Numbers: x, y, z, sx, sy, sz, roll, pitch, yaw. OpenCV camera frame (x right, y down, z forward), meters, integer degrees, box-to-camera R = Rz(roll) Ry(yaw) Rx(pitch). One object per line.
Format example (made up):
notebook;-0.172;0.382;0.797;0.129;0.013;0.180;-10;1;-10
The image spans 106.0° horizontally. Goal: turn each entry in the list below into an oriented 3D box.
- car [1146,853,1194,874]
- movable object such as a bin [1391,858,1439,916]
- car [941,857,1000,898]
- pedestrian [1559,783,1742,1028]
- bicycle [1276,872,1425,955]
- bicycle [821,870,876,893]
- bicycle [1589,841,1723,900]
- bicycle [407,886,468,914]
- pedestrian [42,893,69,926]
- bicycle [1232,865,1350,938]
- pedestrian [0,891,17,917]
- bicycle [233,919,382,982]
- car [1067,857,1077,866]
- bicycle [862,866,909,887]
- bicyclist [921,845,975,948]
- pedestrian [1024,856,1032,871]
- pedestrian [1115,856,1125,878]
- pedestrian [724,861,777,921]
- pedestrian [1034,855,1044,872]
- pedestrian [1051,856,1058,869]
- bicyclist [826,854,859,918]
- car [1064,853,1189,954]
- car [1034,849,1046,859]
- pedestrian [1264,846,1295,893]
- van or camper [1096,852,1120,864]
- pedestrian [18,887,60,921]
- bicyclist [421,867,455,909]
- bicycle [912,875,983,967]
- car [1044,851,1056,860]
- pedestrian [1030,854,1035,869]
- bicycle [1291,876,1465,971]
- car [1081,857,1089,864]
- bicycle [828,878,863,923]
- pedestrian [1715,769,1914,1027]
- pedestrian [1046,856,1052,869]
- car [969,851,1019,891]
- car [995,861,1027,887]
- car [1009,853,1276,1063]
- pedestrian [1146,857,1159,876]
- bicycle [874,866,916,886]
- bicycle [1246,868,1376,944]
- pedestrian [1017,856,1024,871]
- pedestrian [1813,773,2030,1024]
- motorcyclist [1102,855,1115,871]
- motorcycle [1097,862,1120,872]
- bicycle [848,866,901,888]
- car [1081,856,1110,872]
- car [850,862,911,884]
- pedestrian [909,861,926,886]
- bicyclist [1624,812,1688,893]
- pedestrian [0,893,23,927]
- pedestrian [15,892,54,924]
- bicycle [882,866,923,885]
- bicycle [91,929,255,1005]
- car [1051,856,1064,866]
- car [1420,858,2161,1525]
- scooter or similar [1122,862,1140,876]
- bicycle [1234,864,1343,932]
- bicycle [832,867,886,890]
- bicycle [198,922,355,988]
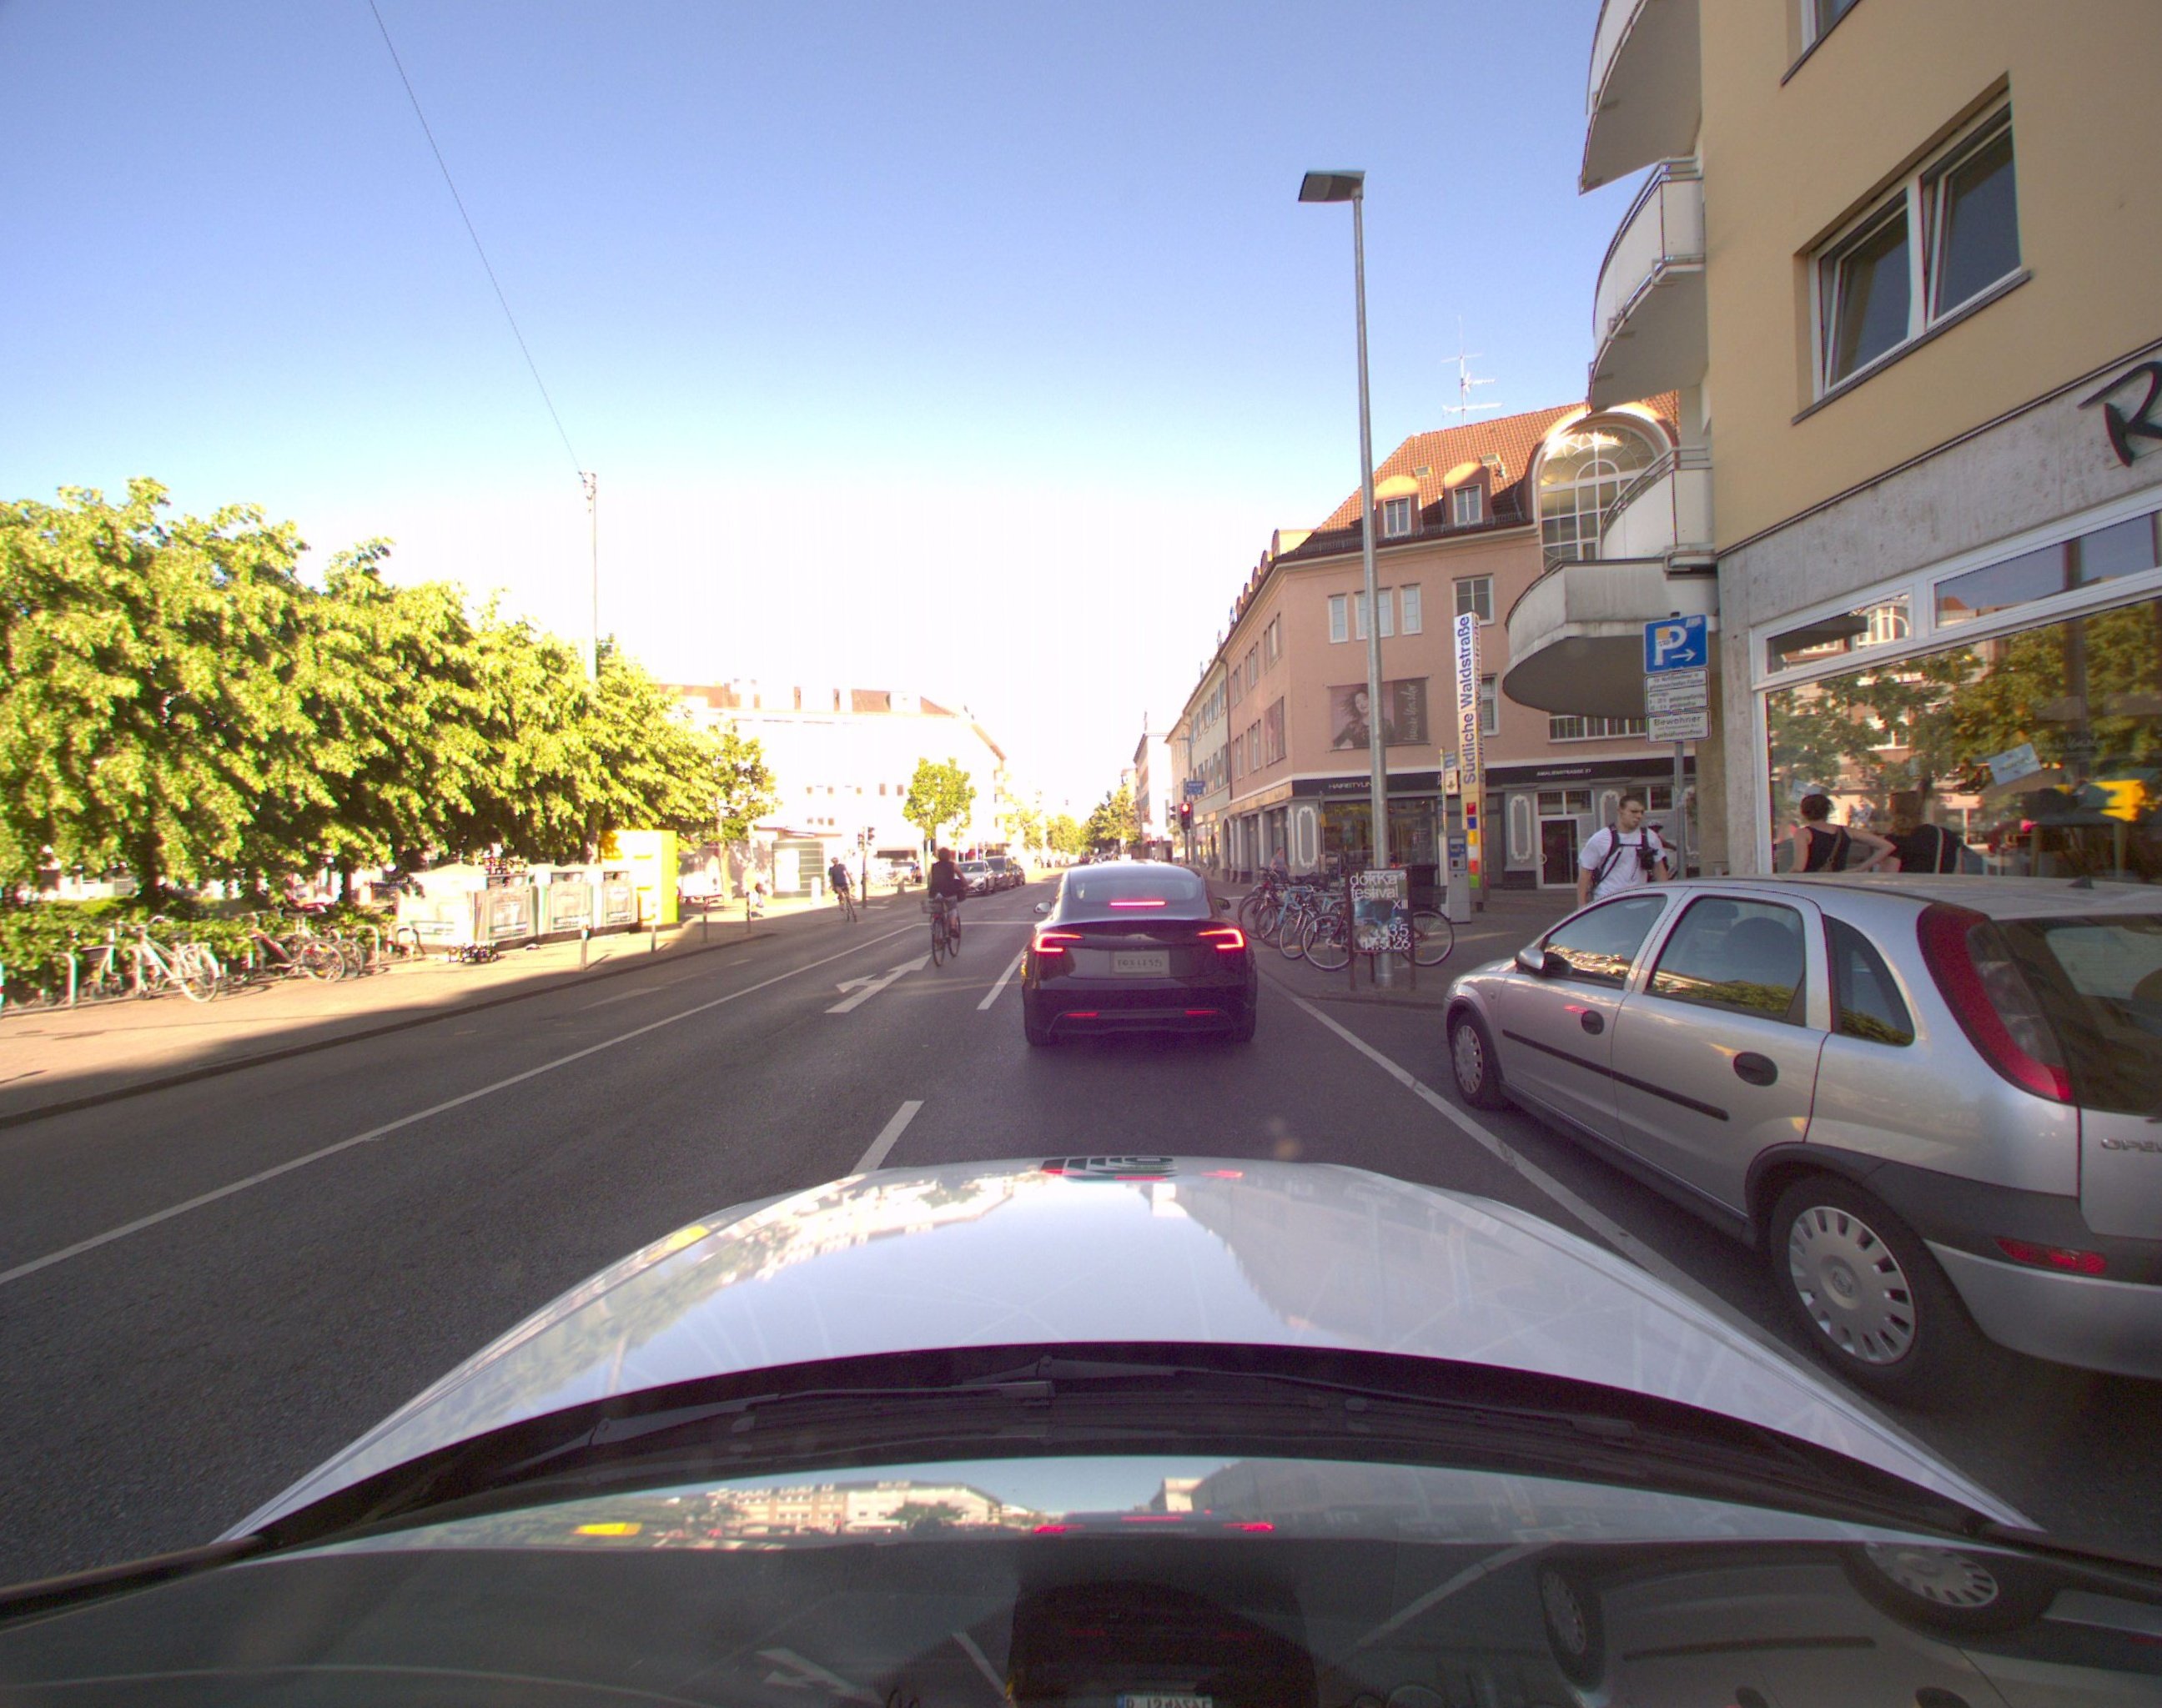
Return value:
car;8.144;0.874;74.644;4.006;1.867;1.686;-1;0;-20
movable object such as a bin;6.723;0.661;16.419;0.633;1.103;0.728;-4;-1;5
car;-4.885;1.017;36.592;1.818;1.565;4.302;-5;-1;2
pedestrian;4.536;0.389;6.572;0.805;1.823;0.984;0;-1;5
bicycle;3.655;0.798;11.150;1.806;1.060;0.653;-1;0;3
bicycle;-12.327;1.440;43.239;2.652;1.195;0.942;0;-1;-1
bicycle;13.183;0.380;18.737;2.376;1.151;0.714;-5;-1;8
bicycle;-21.856;1.571;27.677;1.840;0.823;0.583;-4;-1;14
pedestrian;-48.993;2.625;38.912;0.827;1.520;0.782;-1;-1;38
bicycle;3.496;0.776;13.637;1.806;1.152;0.653;-1;0;3
pedestrian;-52.279;2.418;39.220;0.864;1.214;0.897;0;-1;-11
bicycle;-11.462;1.426;12.096;1.663;0.859;0.469;0;-1;-5
car;-2.003;1.779;187.423;2.124;1.970;4.135;-1;0;2
bicycle;-12.056;1.388;50.295;2.655;1.259;0.942;0;-1;-1
bicyclist;-1.990;0.613;12.246;0.603;1.484;0.959;0;-1;3
pedestrian;-6.343;1.131;97.488;0.734;1.868;0.787;0;-1;-15
pedestrian;3.206;1.069;67.265;0.660;1.760;0.649;0;-1;-22
pedestrian;-9.758;1.070;24.102;1.105;1.719;1.062;0;-1;2
pedestrian;-4.893;1.099;94.805;0.726;1.868;0.796;-1;-1;30
pedestrian;-3.737;1.166;113.834;0.775;1.868;1.004;0;-1;-14
bicyclist;-6.735;0.882;22.962;0.704;1.709;0.804;-4;1;-24
car;0.741;0.750;14.301;1.843;1.482;4.453;0;0;2
car;-9.025;-0.011;180.132;2.266;2.014;4.720;0;-1;3
pedestrian;6.627;0.510;27.200;0.789;1.549;0.721;0;-1;-10
van or camper;5.629;0.853;167.655;4.832;2.438;1.851;-1;0;1
pedestrian;-59.074;2.794;46.185;1.088;1.842;1.308;-1;-1;44
bicyclist;-21.868;1.155;27.694;0.701;1.381;0.577;-3;-2;14
bicycle;-1.975;0.950;12.287;0.625;1.223;2.002;0;0;3
car;-7.169;0.292;188.727;2.266;2.014;4.720;0;-1;3
pedestrian;-6.219;0.979;104.219;0.693;1.868;0.658;0;-1;-3
bicycle;3.635;0.846;10.077;1.875;1.044;0.653;-2;0;3
car;0.952;1.523;194.727;1.886;1.813;3.925;0;-1;0
bicycle;-6.634;1.276;22.866;0.619;1.162;1.941;-4;0;-24
pedestrian;5.704;0.331;6.402;0.676;1.849;0.896;-5;-1;11
pedestrian;-4.608;1.280;117.548;0.696;1.868;0.905;0;-1;-16
car;-4.498;0.836;42.915;1.938;1.947;4.822;-1;0;2
car;-4.259;1.206;50.041;1.455;1.430;3.607;-5;-1;2
car;0.495;0.739;7.877;1.843;1.447;4.453;0;0;2
pedestrian;6.165;1.086;69.996;0.812;1.609;0.702;0;-1;-35
bicycle;-12.001;1.402;52.571;2.535;1.251;0.942;0;-1;-1
bicycle;3.518;0.791;12.561;1.806;1.102;0.653;-1;0;3
pedestrian;-7.237;1.136;97.235;0.734;1.868;0.787;0;-1;-15
pedestrian;6.357;0.322;6.218;0.717;1.754;0.789;-4;-1;6
motorcyclist;2.918;0.910;85.348;1.116;1.633;0.769;0;-1;-28
motorcycle;2.898;1.361;85.335;2.392;1.036;0.776;0;-1;-29
bicycle;-12.157;1.365;47.978;2.867;1.270;0.942;0;-1;-1
car;1.765;1.225;100.451;2.044;1.788;3.976;-1;0;-23
car;-18.353;1.705;74.581;5.213;1.866;1.871;-1;0;-20
pedestrian;-10.710;1.243;53.272;1.093;1.611;1.261;0;-1;-12
bicyclist;13.208;-0.022;18.733;0.859;1.755;0.683;-5;-2;9
pedestrian;-50.498;2.630;38.180;0.928;1.520;0.924;0;-1;-43
pedestrian;-52.473;2.703;40.849;1.029;1.520;1.023;0;-1;-43
bicycle;-12.055;1.422;54.998;2.535;1.251;0.942;0;-1;-1
bicycle;-11.462;1.418;10.300;1.560;0.886;0.470;0;-1;1
car;-4.863;1.324;166.803;2.405;1.970;4.679;-1;0;2
car;2.960;0.739;3.541;1.578;1.426;3.581;0;-1;2
scooter or similar;4.162;1.255;67.650;1.339;1.134;0.804;0;-1;-23
bicycle;3.736;0.784;14.766;1.806;1.152;0.653;-1;0;3
bicycle;-12.395;1.372;45.582;2.772;1.274;0.933;0;-1;-2
bicycle;-11.427;1.425;11.597;1.667;0.859;0.469;0;-1;-5
